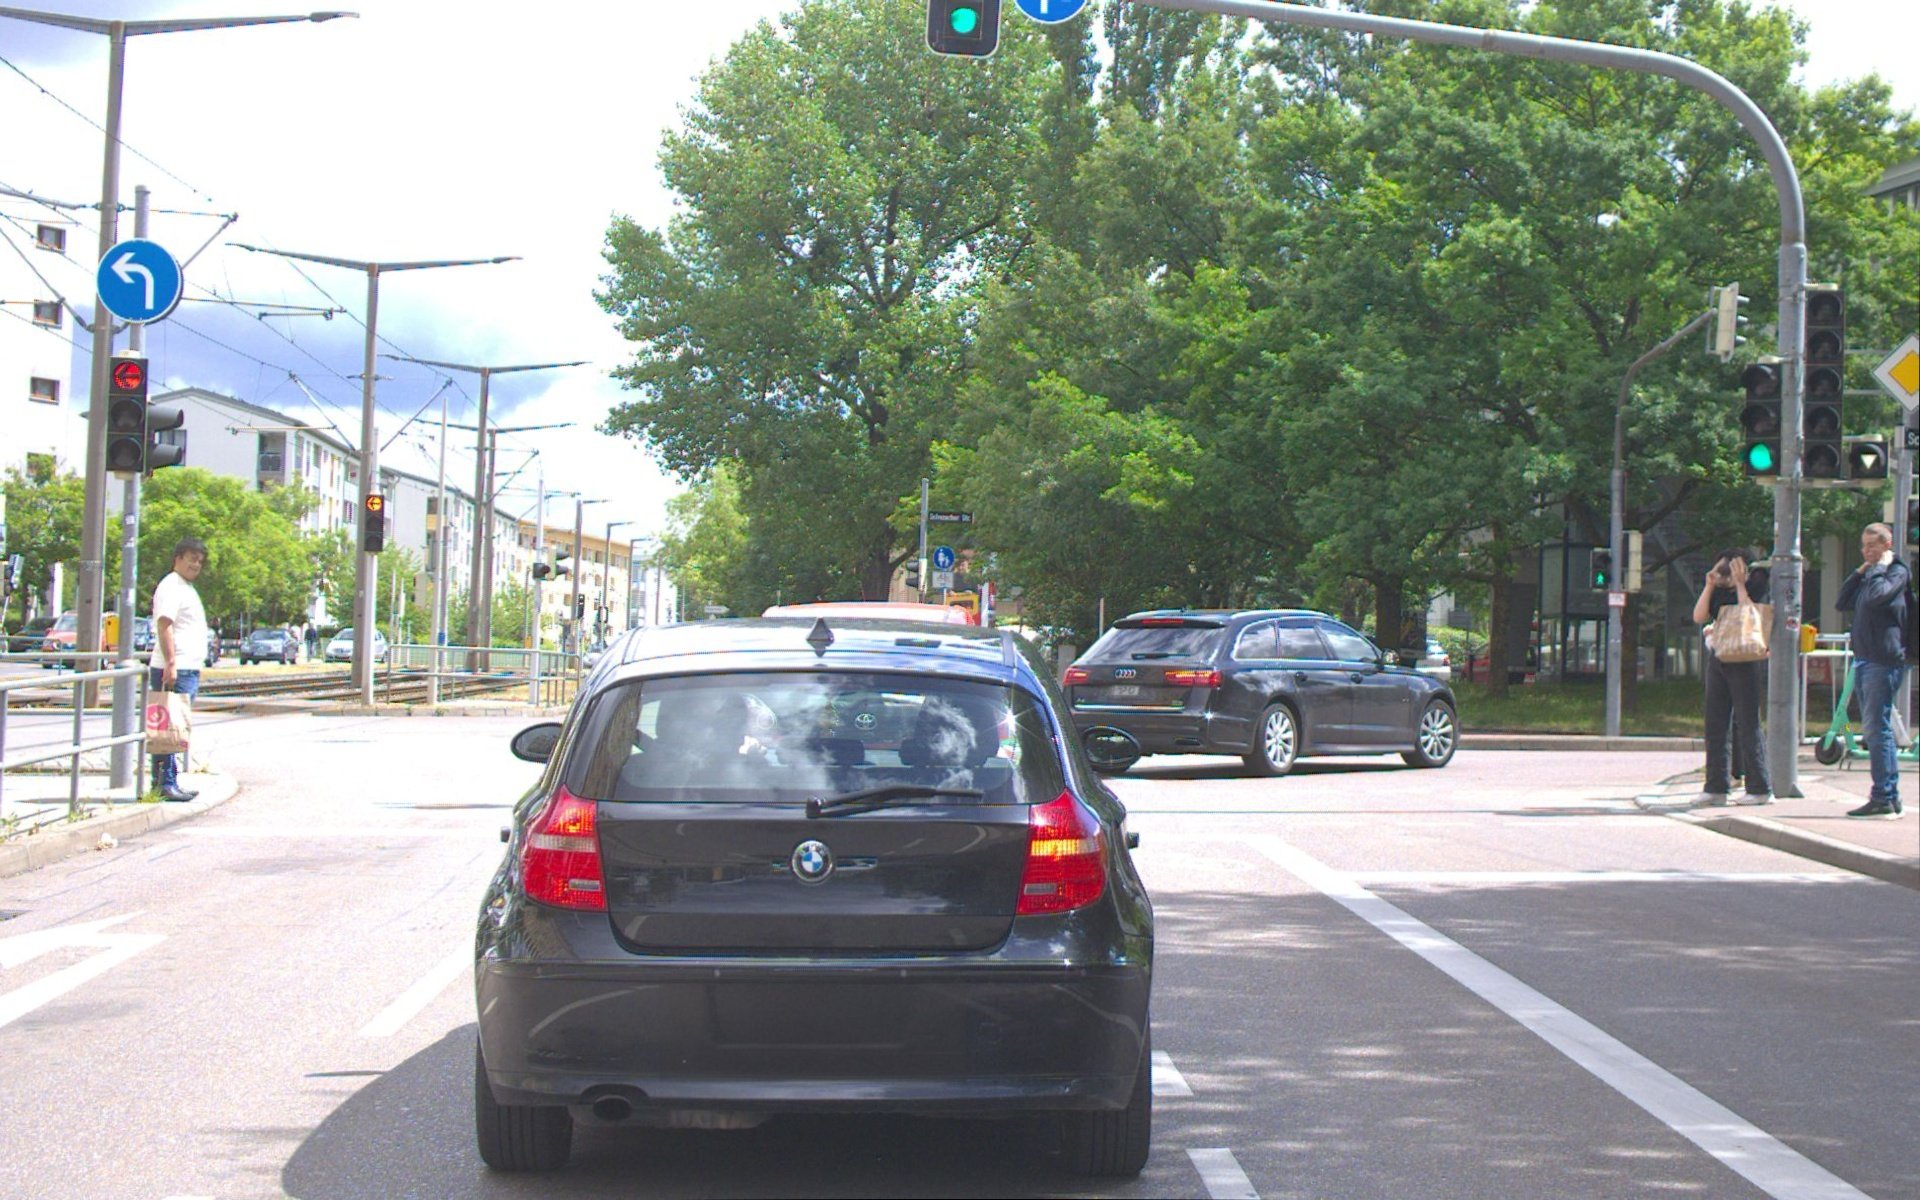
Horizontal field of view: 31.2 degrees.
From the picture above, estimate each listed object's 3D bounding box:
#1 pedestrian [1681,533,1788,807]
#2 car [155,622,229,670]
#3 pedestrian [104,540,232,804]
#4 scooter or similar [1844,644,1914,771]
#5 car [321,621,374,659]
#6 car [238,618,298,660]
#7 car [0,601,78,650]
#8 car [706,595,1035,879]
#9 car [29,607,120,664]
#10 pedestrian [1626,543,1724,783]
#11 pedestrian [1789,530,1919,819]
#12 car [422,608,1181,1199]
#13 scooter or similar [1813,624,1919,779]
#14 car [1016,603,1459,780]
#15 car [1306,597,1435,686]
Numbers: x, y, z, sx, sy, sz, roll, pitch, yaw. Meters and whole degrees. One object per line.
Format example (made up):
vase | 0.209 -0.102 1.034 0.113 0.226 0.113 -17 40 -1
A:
pedestrian | 5.372 0.480 23.867 0.636 1.870 0.518 1 0 6
car | -25.511 1.511 114.297 1.651 1.529 3.872 1 0 -2
pedestrian | -5.277 0.473 22.930 0.687 1.728 0.687 0 0 0
scooter or similar | 8.047 0.927 30.128 0.548 1.060 1.261 1 0 14
car | -26.185 1.699 147.116 1.651 1.529 3.872 1 0 -2
car | -26.804 1.506 133.215 1.651 1.529 3.872 1 0 -2
car | -28.793 0.784 107.312 1.591 1.469 3.775 1 0 -1
car | -0.464 0.689 19.098 1.638 1.395 3.420 1 0 0
car | -24.969 0.978 97.032 1.651 1.529 3.872 1 0 -2
pedestrian | 5.338 0.465 25.685 0.636 1.760 0.518 1 0 6
pedestrian | 6.077 0.486 22.939 0.795 1.870 1.013 1 0 0
car | -0.372 0.749 9.504 1.700 1.395 3.420 1 0 0
scooter or similar | 7.599 0.828 28.109 1.110 1.231 0.539 1 0 2
car | 2.558 0.764 30.645 1.904 1.417 4.529 1 0 35
car | 8.912 0.880 74.977 1.726 1.865 4.001 1 0 -9
